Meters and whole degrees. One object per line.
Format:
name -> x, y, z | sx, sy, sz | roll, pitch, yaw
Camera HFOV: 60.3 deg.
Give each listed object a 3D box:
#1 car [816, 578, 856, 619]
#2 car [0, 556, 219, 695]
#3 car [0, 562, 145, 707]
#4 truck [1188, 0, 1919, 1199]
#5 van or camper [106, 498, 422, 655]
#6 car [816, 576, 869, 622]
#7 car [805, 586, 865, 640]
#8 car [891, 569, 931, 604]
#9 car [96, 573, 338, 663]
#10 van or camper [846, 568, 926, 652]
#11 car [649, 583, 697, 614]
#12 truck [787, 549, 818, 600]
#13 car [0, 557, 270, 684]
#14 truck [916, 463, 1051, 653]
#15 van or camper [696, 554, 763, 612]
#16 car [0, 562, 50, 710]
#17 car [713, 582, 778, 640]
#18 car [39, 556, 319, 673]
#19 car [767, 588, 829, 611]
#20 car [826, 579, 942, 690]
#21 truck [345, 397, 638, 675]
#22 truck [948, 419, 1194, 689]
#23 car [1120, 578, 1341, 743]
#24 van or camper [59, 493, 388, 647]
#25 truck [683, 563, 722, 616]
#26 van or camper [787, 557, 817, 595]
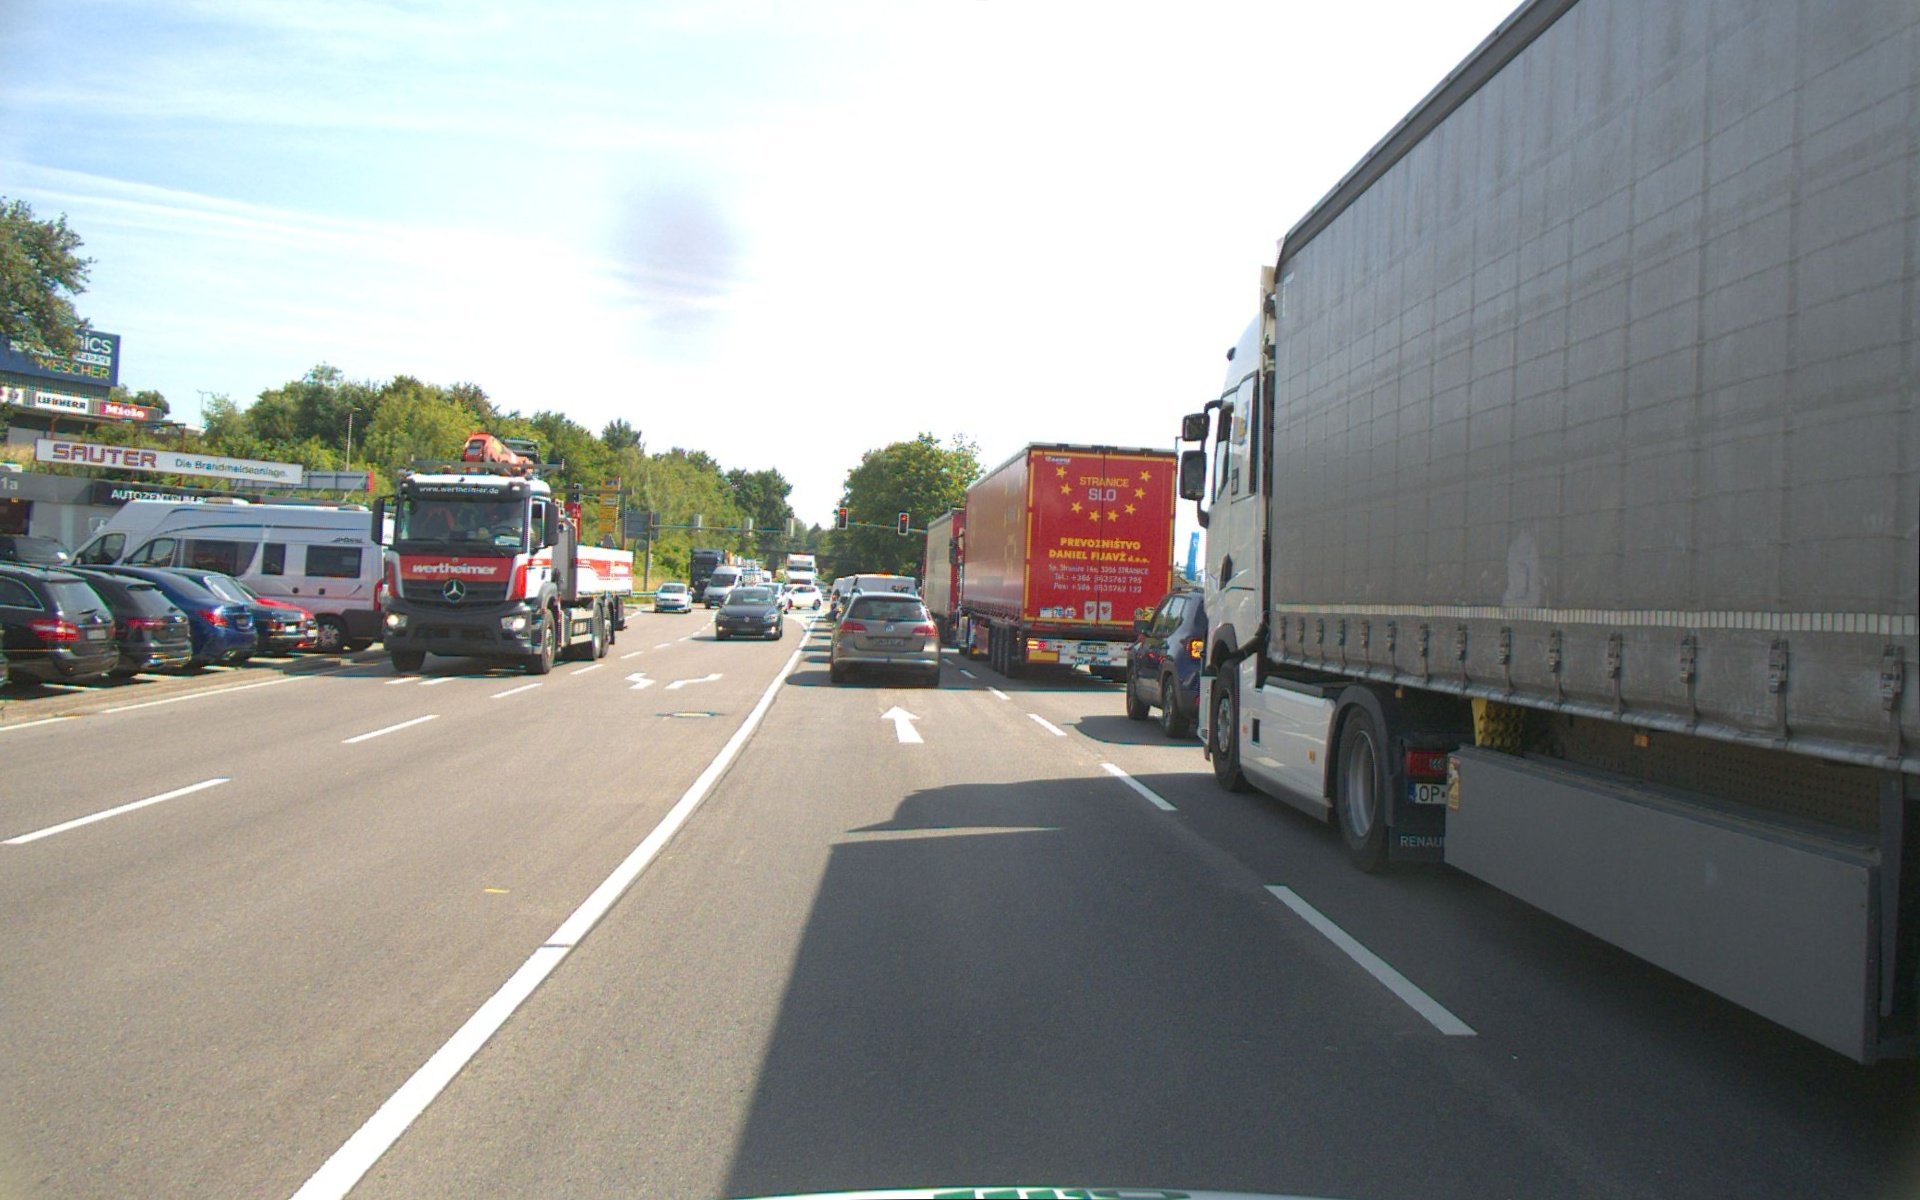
car -> -6.144, -0.049, 82.052 | 1.692, 1.942, 3.311 | 2, 0, -1
car -> -12.087, 0.261, 21.751 | 3.771, 1.510, 1.800 | 6, 0, -6
car -> -12.351, 0.248, 19.573 | 4.374, 1.510, 1.770 | 6, 0, -6
truck -> 3.695, -0.635, 6.311 | 2.832, 4.340, 16.704 | 2, 0, -1
van or camper -> -13.483, -0.453, 32.330 | 5.140, 2.779, 2.209 | 2, 0, -3
car -> -4.223, -0.022, 59.613 | 1.692, 1.545, 3.311 | 2, 0, -1
car -> -3.866, 0.395, 51.455 | 1.692, 1.545, 3.310 | 2, 0, -2
car -> -2.401, -0.645, 80.430 | 1.693, 1.545, 3.309 | 3, -1, -5
car -> -13.336, 0.311, 29.857 | 3.522, 1.506, 1.811 | 1, 0, -3
van or camper -> -1.908, 0.230, 41.537 | 1.816, 1.939, 3.781 | 2, 0, -5
car -> -14.258, -0.095, 82.357 | 1.800, 1.473, 4.079 | 1, 0, -3
truck -> -14.031, -2.280, 147.634 | 2.502, 4.382, 7.589 | 1, 0, -4
car -> -12.359, 0.278, 24.351 | 3.636, 1.582, 1.706 | 3, 1, -6
truck -> 0.453, -1.281, 55.923 | 3.002, 5.311, 16.993 | 2, 0, -4
van or camper -> -13.485, -0.950, 97.276 | 2.160, 3.109, 5.906 | 2, -1, 9
car -> -11.991, 0.187, 16.902 | 4.217, 1.510, 1.796 | 6, 0, -6
car -> -6.217, 0.296, 48.257 | 1.772, 1.587, 4.381 | 1, 0, -7
car -> -12.628, 0.227, 26.931 | 3.637, 1.510, 1.706 | 6, 0, -6
car -> -10.514, -0.029, 107.586 | 1.684, 1.473, 4.064 | 2, 0, 36
car -> -1.191, 0.527, 27.219 | 1.754, 1.667, 3.503 | 1, 0, -1
truck -> -8.266, -1.043, 30.878 | 2.897, 4.282, 10.641 | 0, 0, -3
truck -> 1.787, -0.823, 35.581 | 2.899, 4.344, 16.571 | 2, 0, -4
car -> 3.059, 0.629, 19.508 | 1.782, 1.714, 3.998 | 1, 0, -2
van or camper -> -15.305, -0.618, 34.666 | 5.776, 2.923, 2.288 | 2, 1, -4
truck -> -19.204, -0.825, 123.530 | 2.760, 3.852, 6.978 | 0, 1, -8
van or camper -> -12.814, -1.917, 134.378 | 2.180, 2.890, 5.706 | 2, 0, -4
